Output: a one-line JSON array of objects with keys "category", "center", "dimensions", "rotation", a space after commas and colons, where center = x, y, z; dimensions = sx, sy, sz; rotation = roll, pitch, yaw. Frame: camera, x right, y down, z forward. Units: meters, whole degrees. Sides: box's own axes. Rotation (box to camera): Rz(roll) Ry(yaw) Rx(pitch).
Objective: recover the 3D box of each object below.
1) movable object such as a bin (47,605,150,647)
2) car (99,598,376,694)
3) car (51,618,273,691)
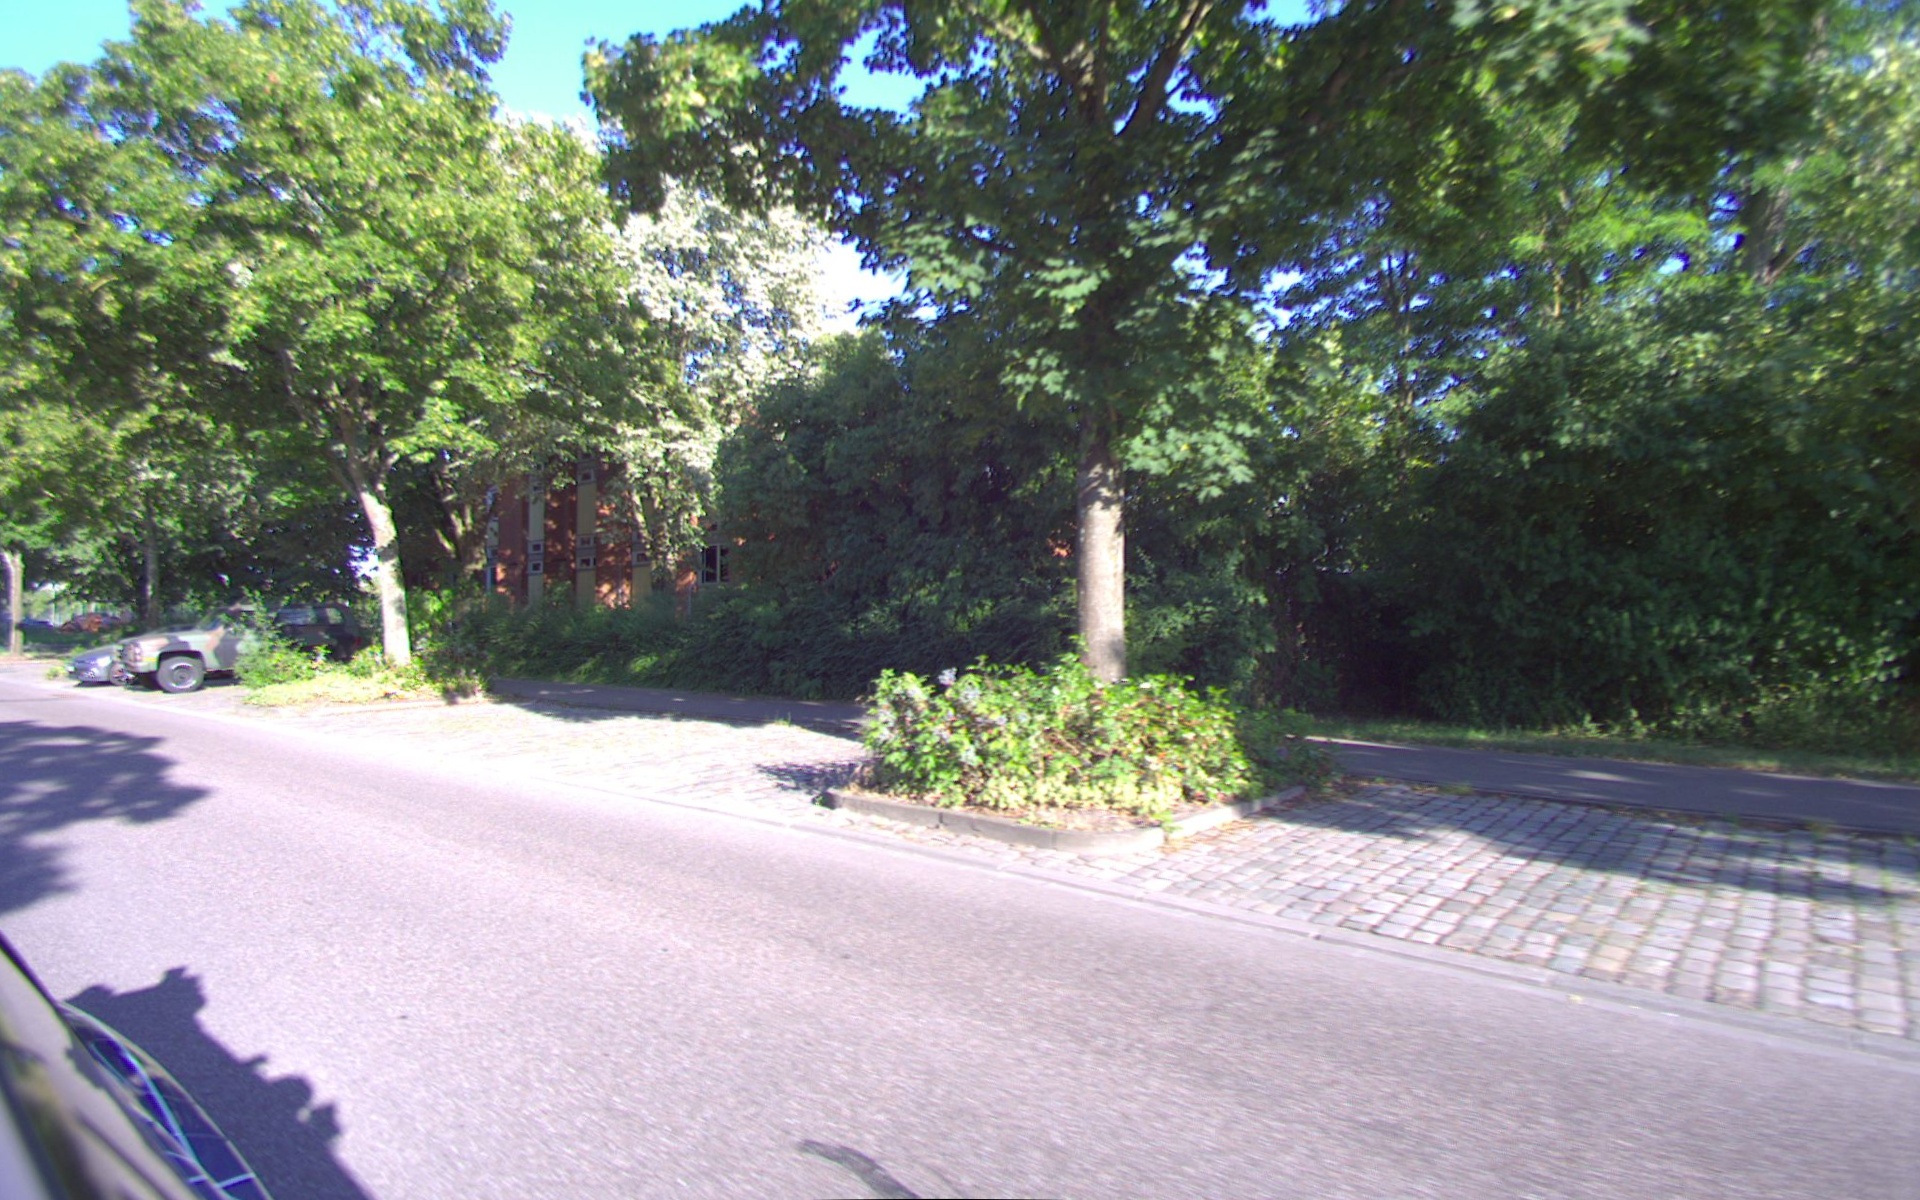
[{"category": "movable object such as a bin", "center": [-56.594, 1.723, 66.534], "dimensions": [4.730, 2.685, 2.168], "rotation": [0, -2, -6]}, {"category": "car", "center": [-16.971, 1.049, 24.027], "dimensions": [2.172, 2.035, 4.955], "rotation": [-2, -2, 39]}, {"category": "car", "center": [-20.421, 1.339, 26.062], "dimensions": [1.702, 1.541, 4.175], "rotation": [-1, 1, 36]}]
